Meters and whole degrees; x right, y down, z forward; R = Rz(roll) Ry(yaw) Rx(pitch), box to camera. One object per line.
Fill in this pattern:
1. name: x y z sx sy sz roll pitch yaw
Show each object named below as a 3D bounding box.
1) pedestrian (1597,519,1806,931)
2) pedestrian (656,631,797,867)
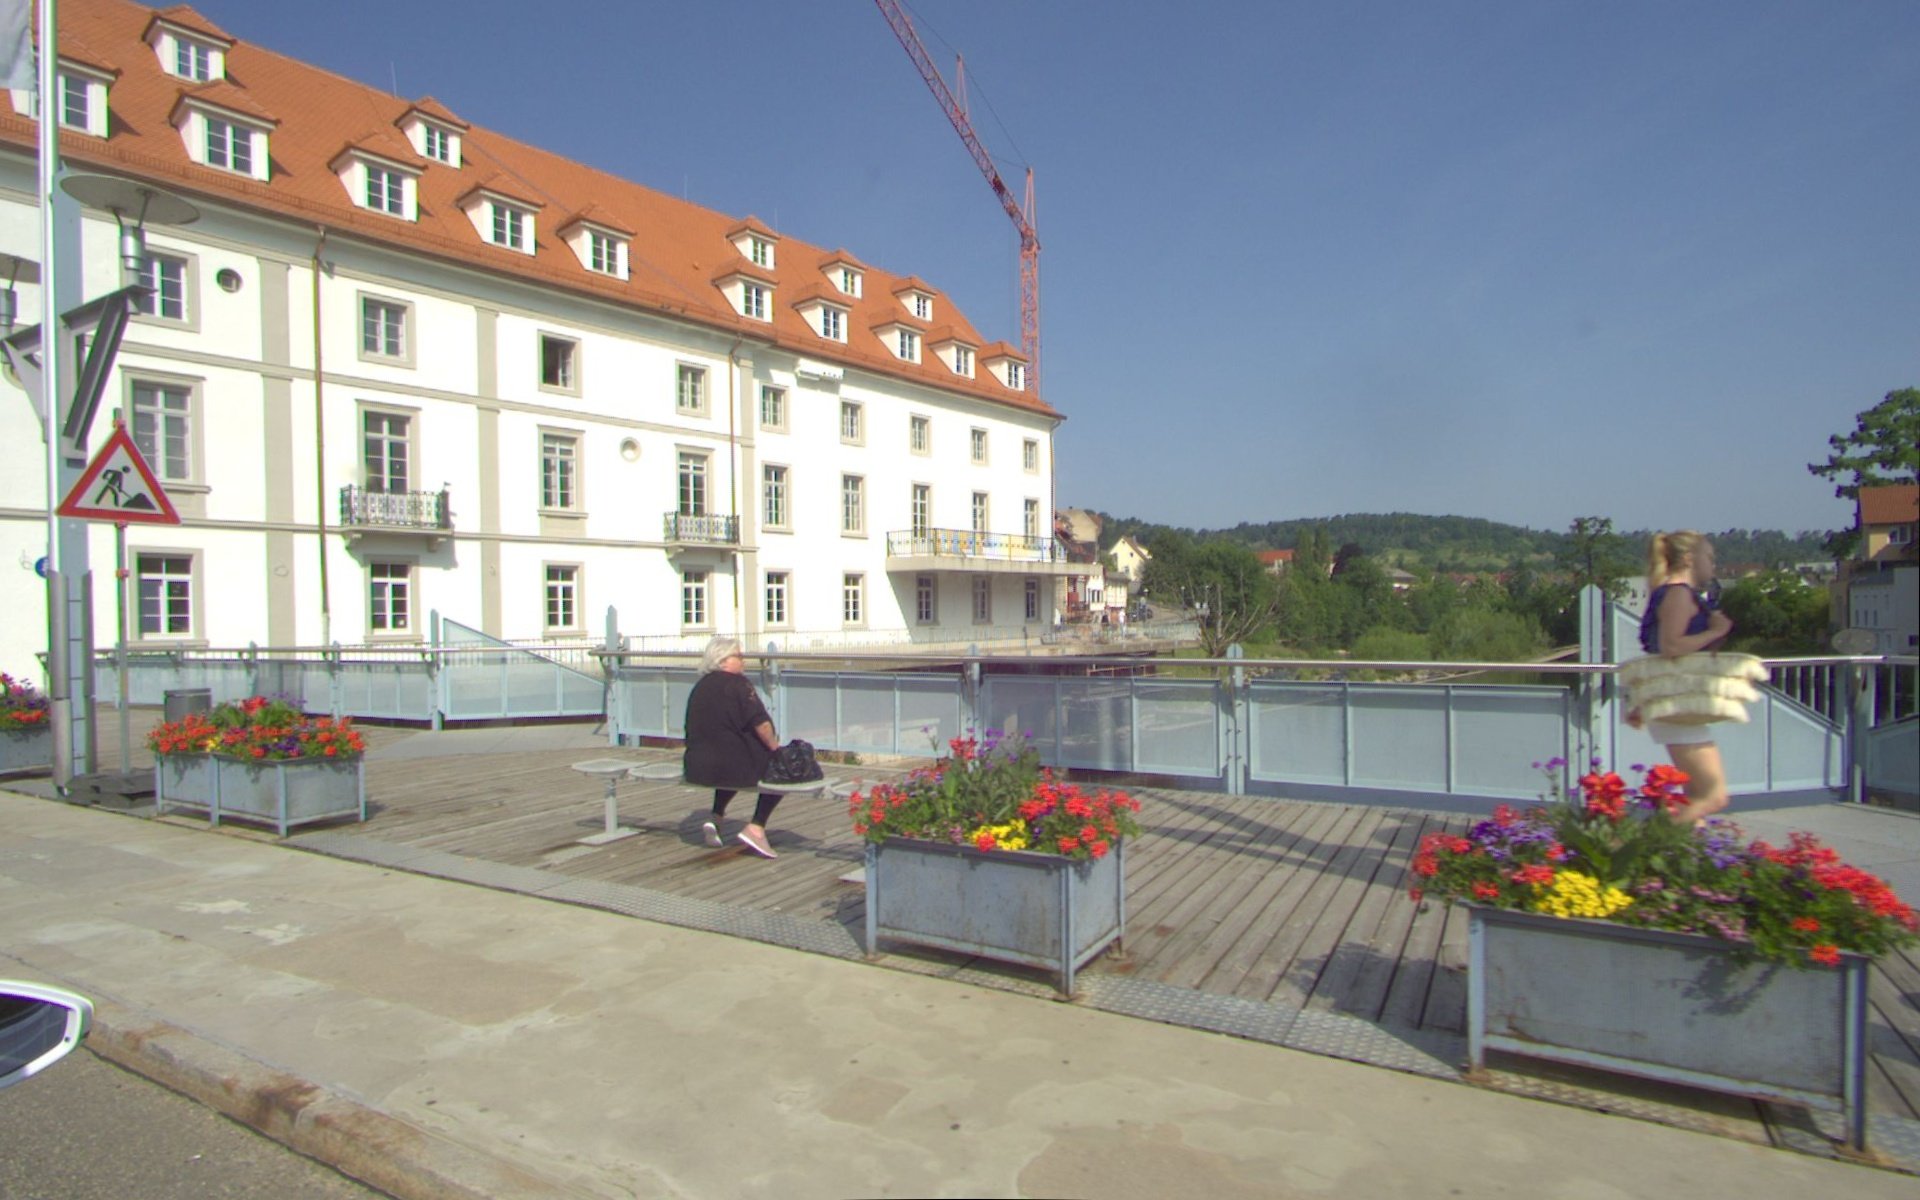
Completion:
1. pedestrian: 3.470 0.538 4.758 0.737 1.746 0.724 0 0 33
2. pedestrian: -1.326 0.813 5.711 0.616 1.260 0.451 -1 0 25
